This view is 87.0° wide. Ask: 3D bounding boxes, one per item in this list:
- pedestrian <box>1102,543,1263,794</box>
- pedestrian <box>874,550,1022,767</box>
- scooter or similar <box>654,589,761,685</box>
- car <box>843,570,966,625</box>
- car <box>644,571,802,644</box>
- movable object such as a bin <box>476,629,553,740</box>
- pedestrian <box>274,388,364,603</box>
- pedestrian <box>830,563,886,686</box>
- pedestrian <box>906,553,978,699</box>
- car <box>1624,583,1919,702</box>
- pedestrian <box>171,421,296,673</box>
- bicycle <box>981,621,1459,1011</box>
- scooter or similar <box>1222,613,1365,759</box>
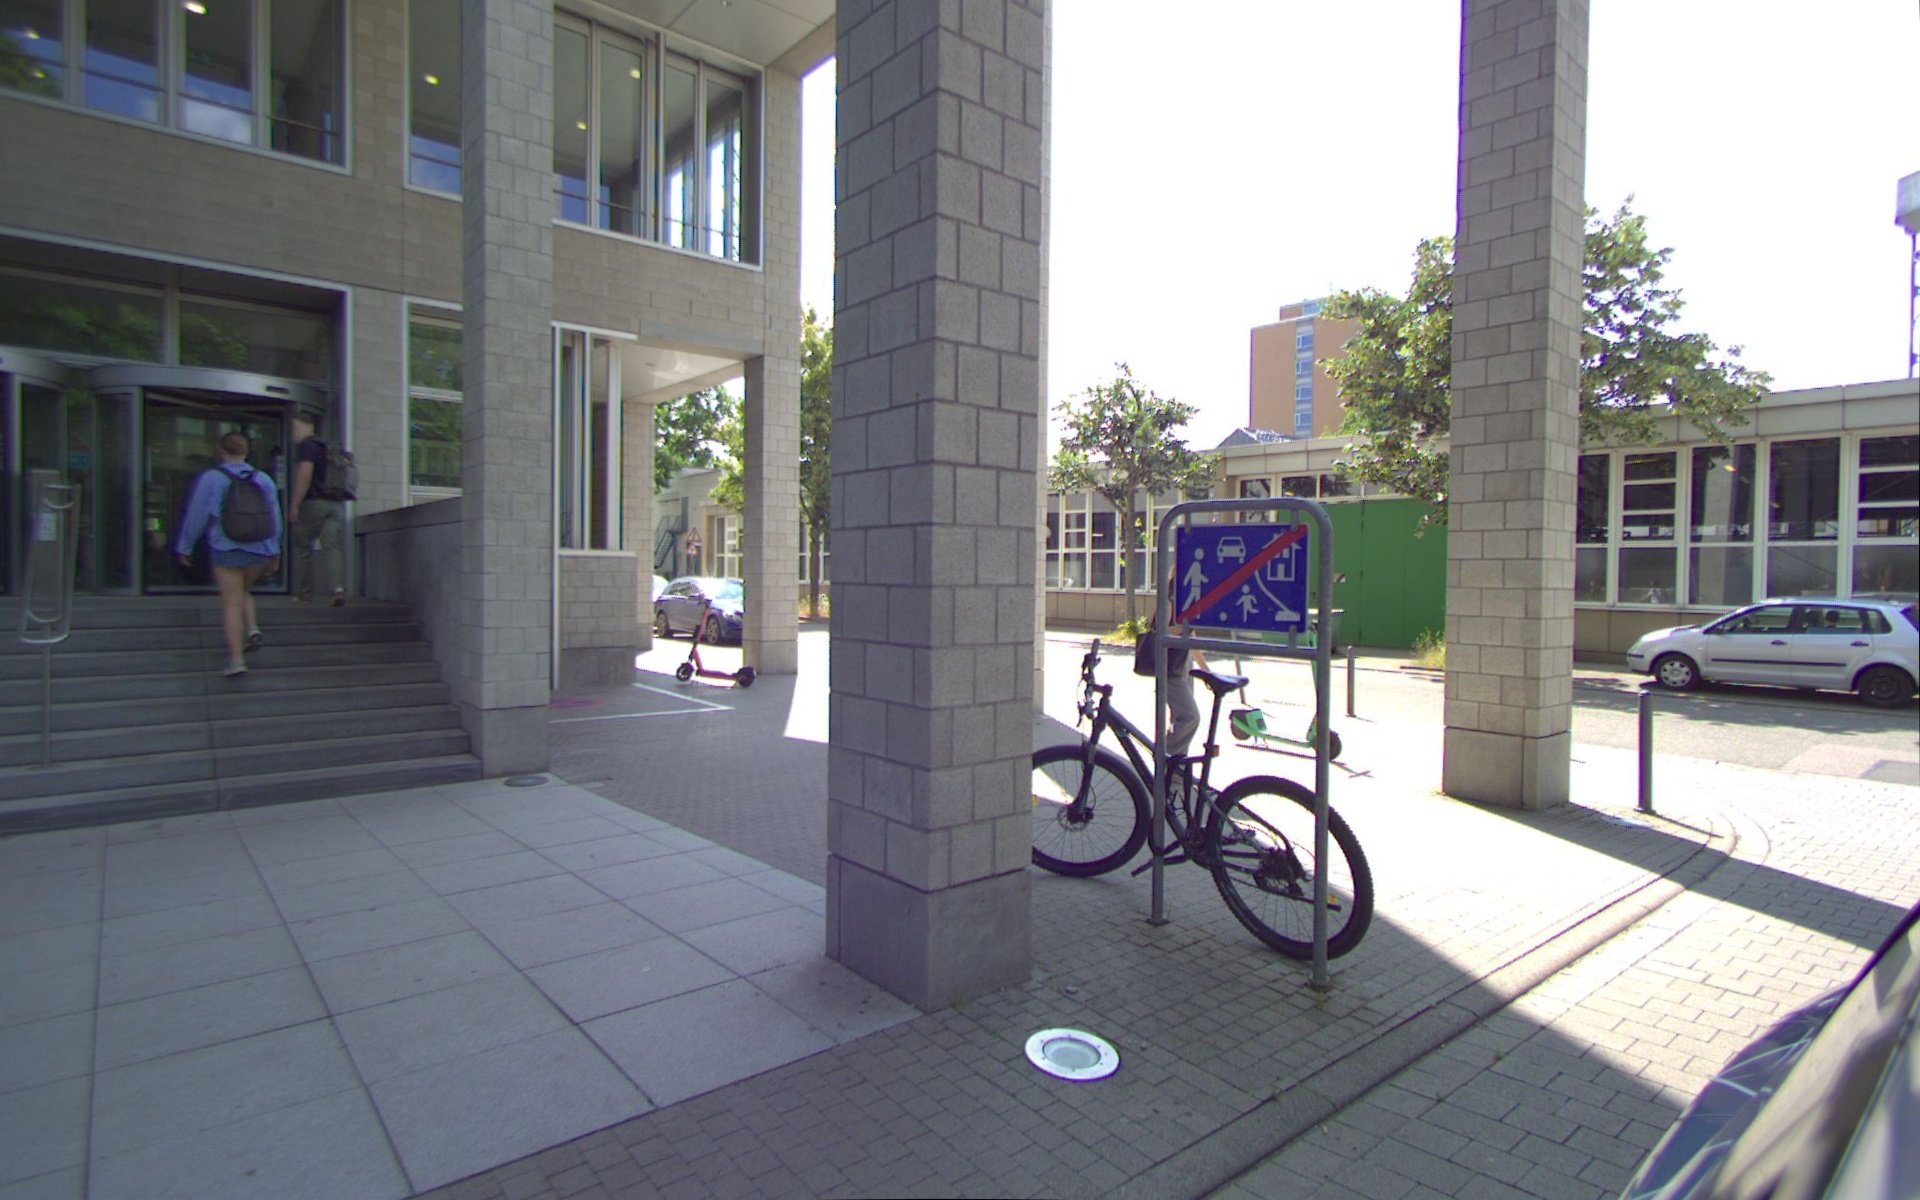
[{"bbox_3d":[1.603,0.447,7.321,0.880,1.676,0.691,2,1,45],"label":"pedestrian"},{"bbox_3d":[-0.087,0.416,8.017,0.814,1.594,0.870,2,1,33],"label":"pedestrian"},{"bbox_3d":[-3.426,0.482,13.735,1.409,1.239,0.357,1,1,17],"label":"scooter or similar"},{"bbox_3d":[-1.830,-0.134,32.356,1.820,1.597,4.128,-2,3,-41],"label":"car"},{"bbox_3d":[-5.511,0.110,23.216,1.819,1.494,4.128,0,2,-41],"label":"car"},{"bbox_3d":[-4.119,0.765,9.376,0.370,0.950,0.546,1,1,30],"label":"movable object such as a bin"},{"bbox_3d":[-5.734,-0.896,9.045,0.579,1.825,0.684,1,1,-40],"label":"pedestrian"},{"bbox_3d":[-1.385,0.313,13.863,0.580,1.619,0.825,1,1,6],"label":"pedestrian"},{"bbox_3d":[-0.211,0.302,12.649,0.766,1.745,0.858,1,1,7],"label":"pedestrian"},{"bbox_3d":[12.468,0.544,15.295,1.625,1.494,3.775,-3,3,-40],"label":"car"},{"bbox_3d":[-5.419,-0.378,7.539,0.633,1.745,0.864,0,1,-43],"label":"pedestrian"},{"bbox_3d":[0.988,0.746,4.279,0.595,1.178,1.882,1,2,-44],"label":"bicycle"},{"bbox_3d":[2.933,0.719,8.978,0.436,1.165,1.159,1,1,-35],"label":"scooter or similar"}]
